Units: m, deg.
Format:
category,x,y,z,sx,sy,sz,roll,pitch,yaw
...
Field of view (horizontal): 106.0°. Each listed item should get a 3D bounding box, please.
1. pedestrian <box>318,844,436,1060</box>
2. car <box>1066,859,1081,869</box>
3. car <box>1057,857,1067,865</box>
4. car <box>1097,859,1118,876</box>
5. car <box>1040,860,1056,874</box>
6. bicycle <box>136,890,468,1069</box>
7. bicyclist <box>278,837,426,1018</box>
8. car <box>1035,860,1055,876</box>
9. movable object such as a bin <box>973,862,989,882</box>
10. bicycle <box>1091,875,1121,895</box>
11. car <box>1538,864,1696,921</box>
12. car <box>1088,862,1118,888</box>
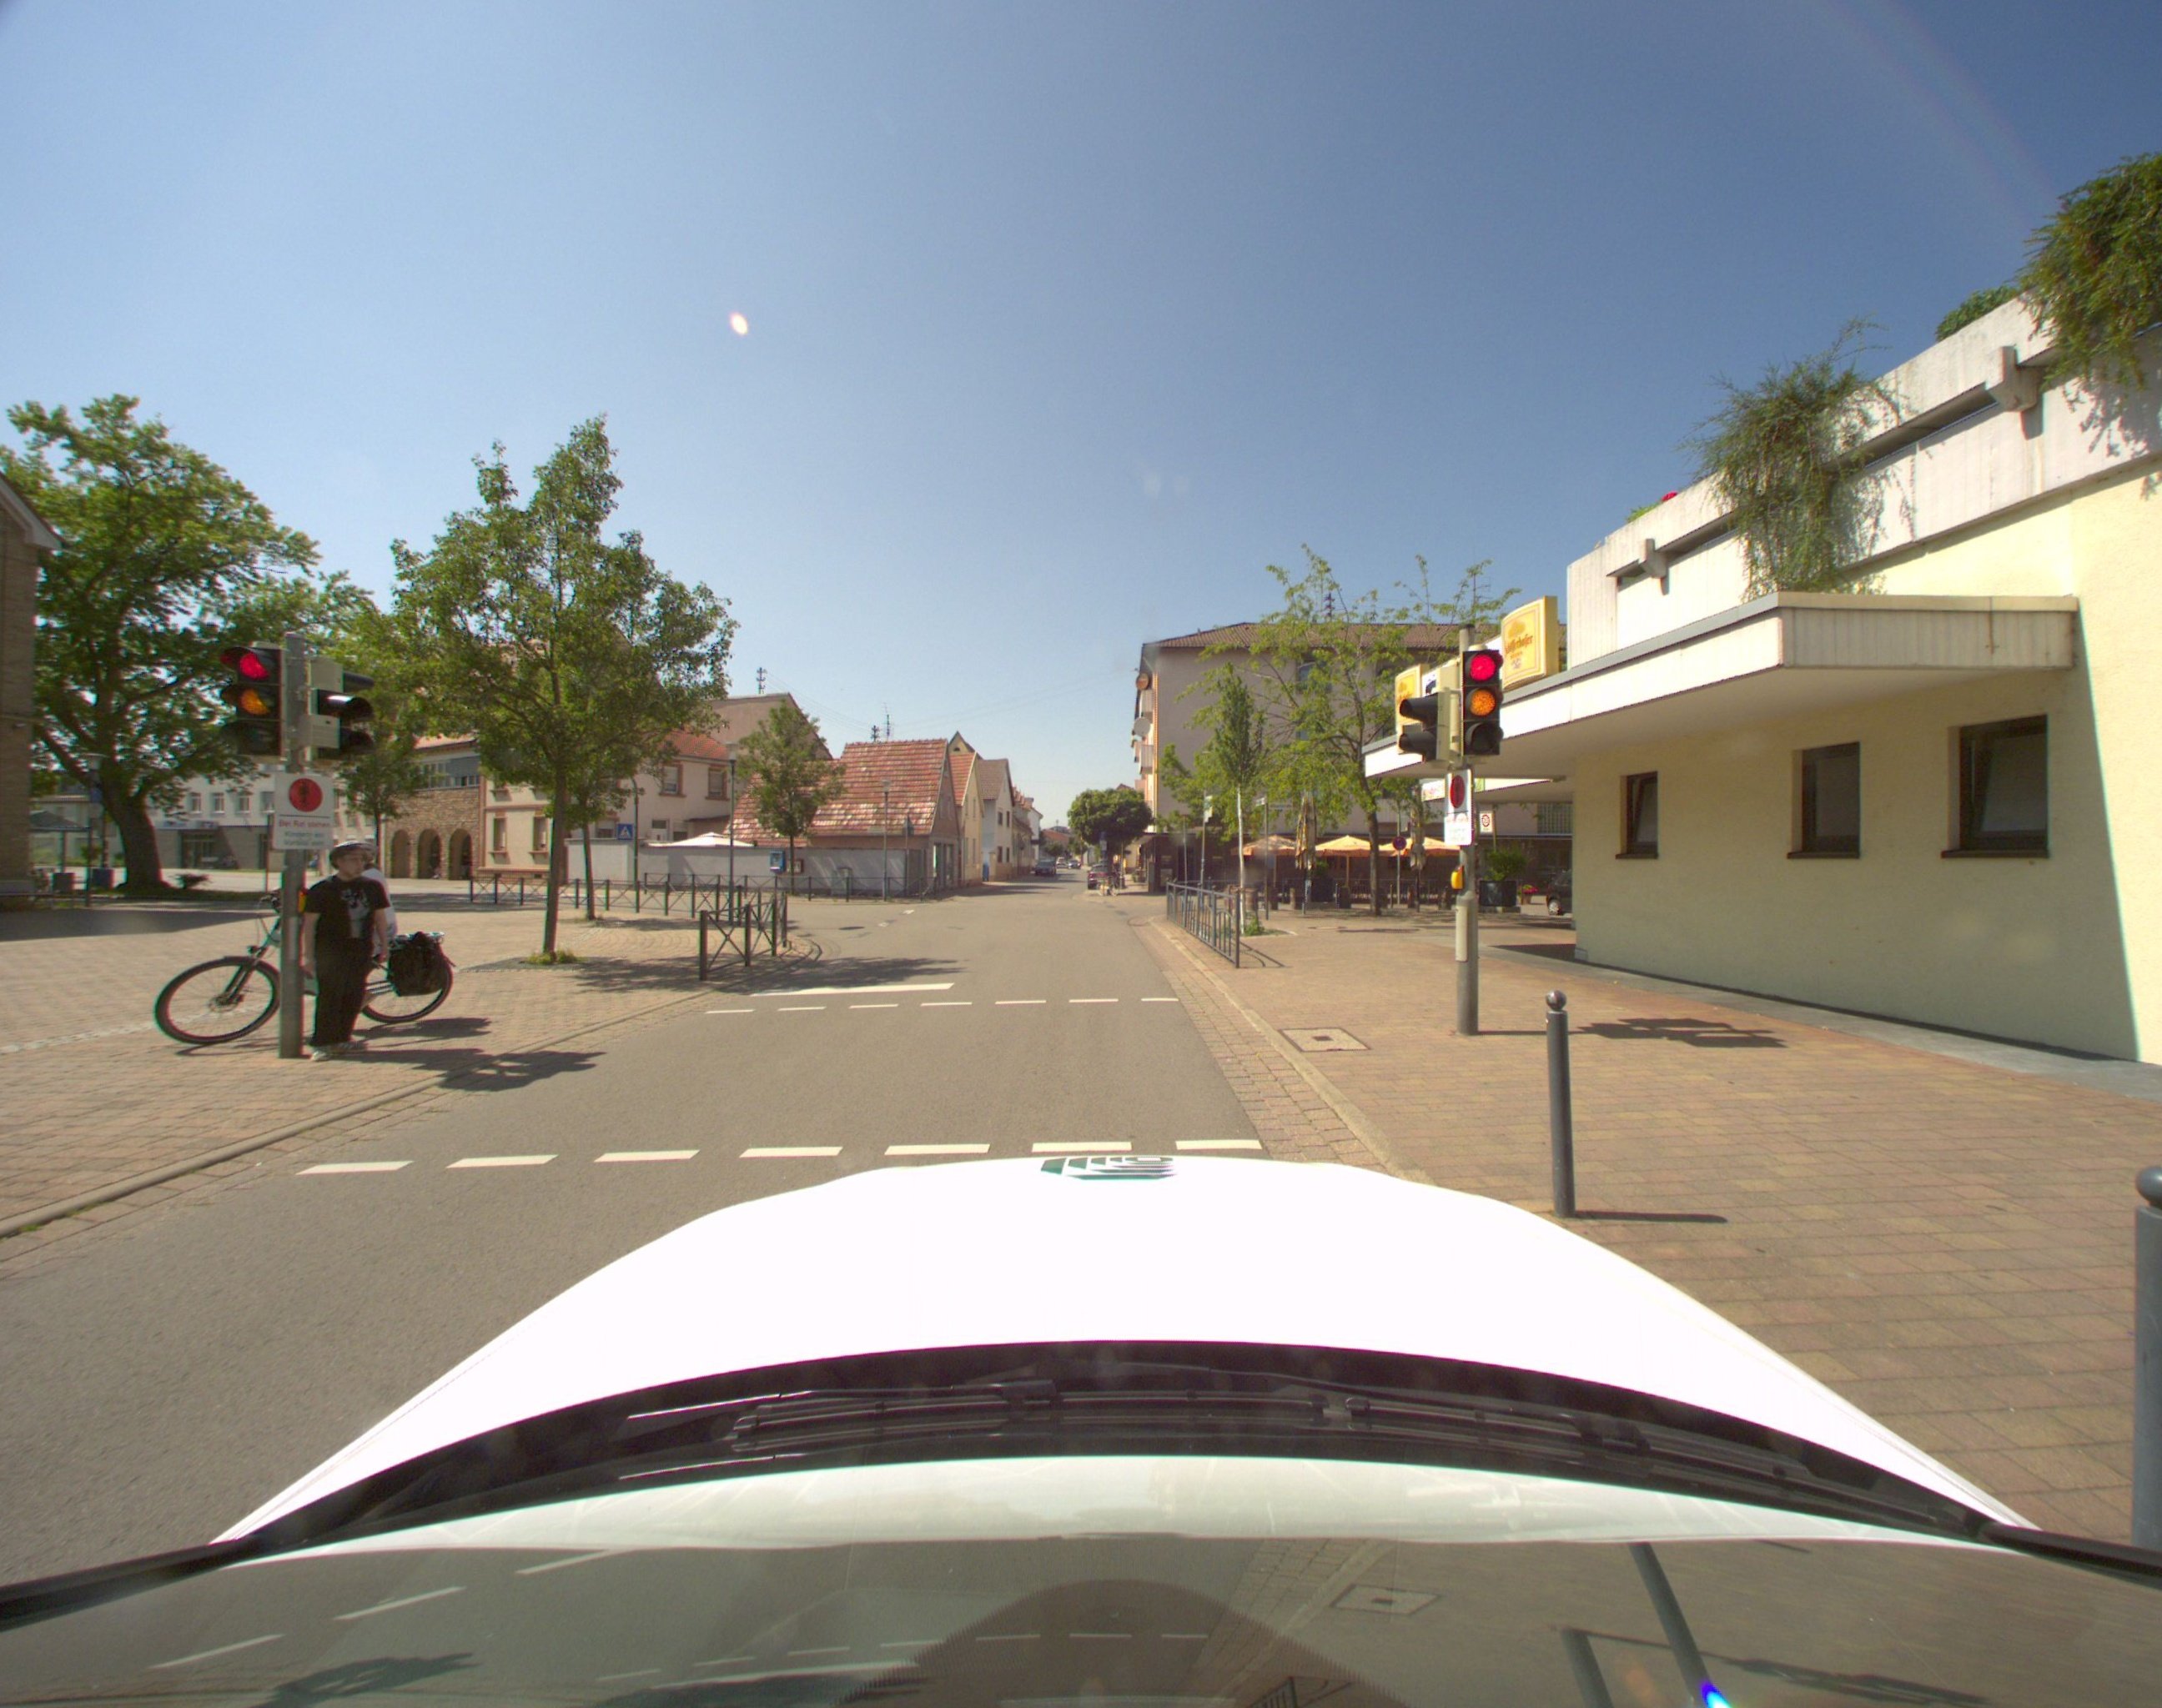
category,x,y,z,sx,sy,sz,roll,pitch,yaw
pedestrian,-5.625,0.744,6.512,0.543,1.619,0.561,-1,-2,35
car,-1.167,1.488,120.405,1.906,1.481,4.835,0,-1,-5
car,-3.778,1.457,166.242,2.021,1.598,4.506,0,-1,-1
car,2.659,1.319,81.158,2.035,1.689,4.843,0,-1,2
car,-3.460,1.323,84.996,1.659,1.476,3.448,0,-1,-2
bicycle,-6.640,0.975,7.066,0.701,1.252,1.984,-1,-1,37
bicyclist,-6.552,0.616,7.333,0.707,1.506,0.876,-1,-1,38
car,-3.442,1.302,78.437,1.657,1.476,4.135,0,-1,1
movable object such as a bin,-7.017,1.256,57.088,1.096,1.366,0.390,0,-1,5
bicycle,1.194,1.474,38.668,1.396,0.897,0.468,-2,0,38
car,15.245,1.054,23.454,1.763,1.510,3.965,1,-1,-4
car,1.299,1.189,47.299,1.569,1.454,3.489,0,-1,4
